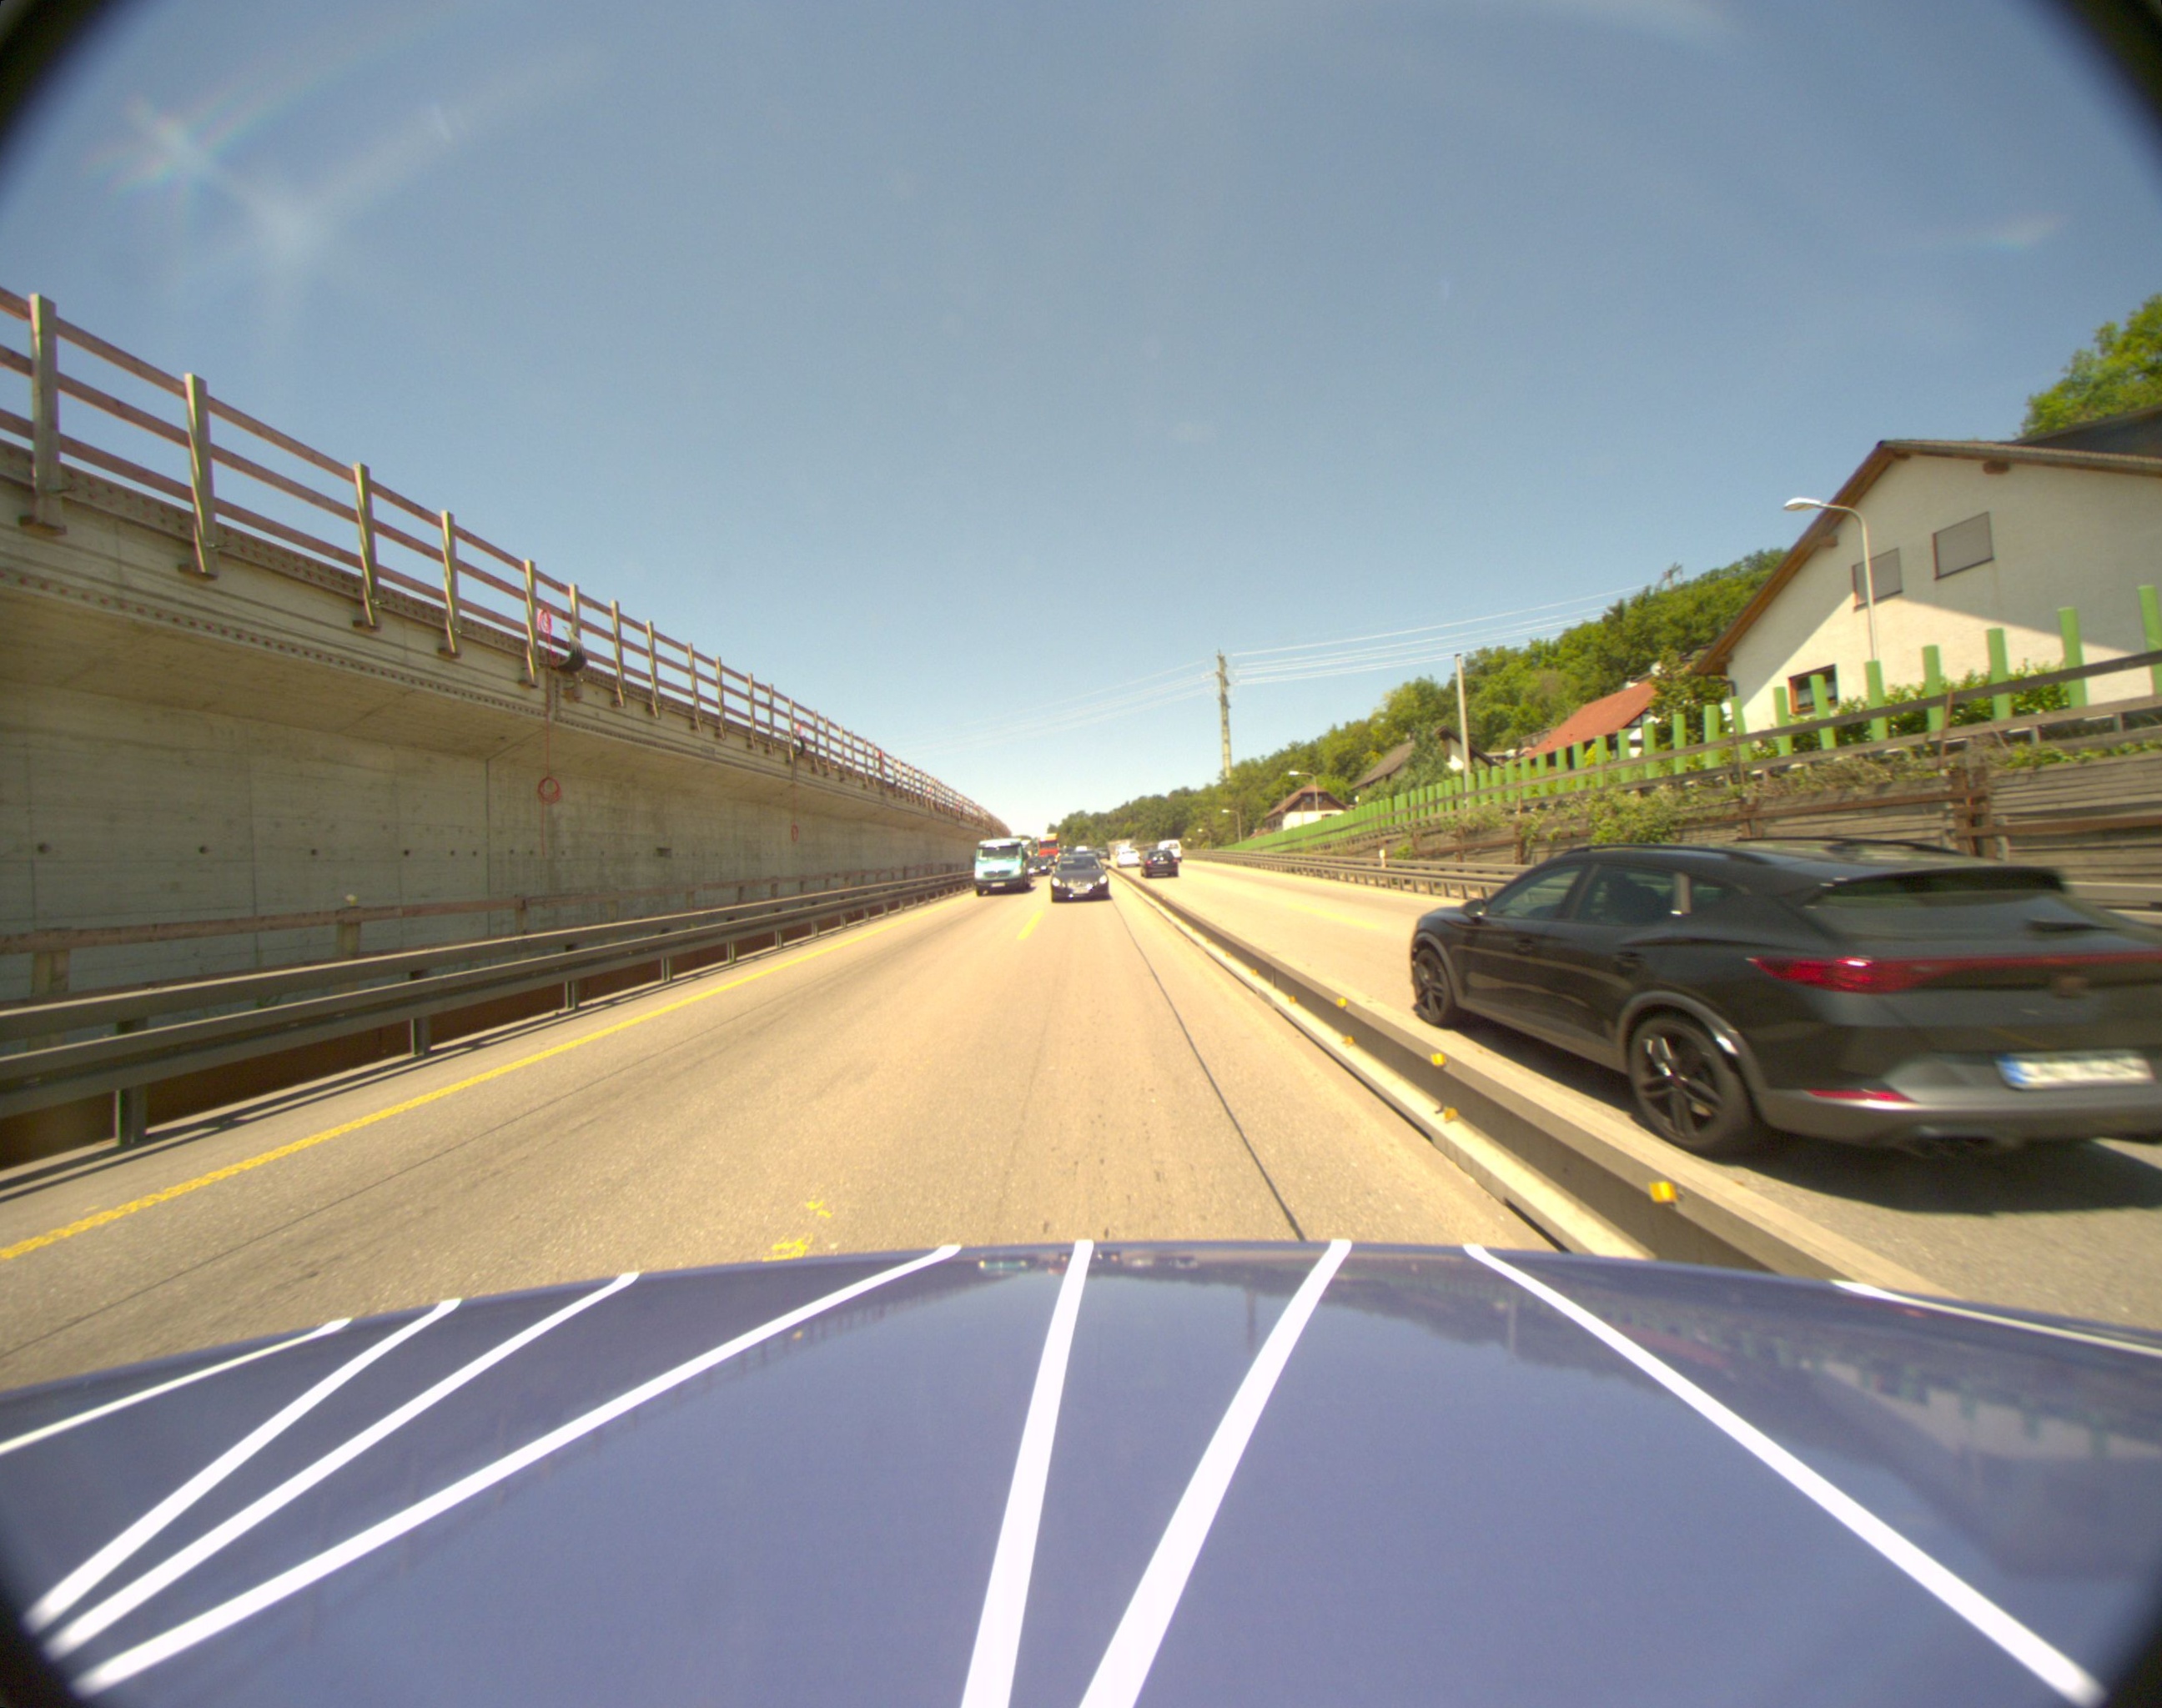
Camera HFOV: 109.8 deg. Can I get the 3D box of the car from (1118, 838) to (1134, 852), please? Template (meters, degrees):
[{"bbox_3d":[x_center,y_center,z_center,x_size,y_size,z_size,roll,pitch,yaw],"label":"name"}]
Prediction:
[{"bbox_3d":[6.588,-1.378,112.032,1.830,1.915,5.241,-3,1,-2],"label":"car"}]

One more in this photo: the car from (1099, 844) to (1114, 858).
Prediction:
[{"bbox_3d":[3.288,-0.410,99.789,1.779,1.624,4.100,-3,1,0],"label":"car"}]

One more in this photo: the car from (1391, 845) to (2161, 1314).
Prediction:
[{"bbox_3d":[3.730,0.752,4.732,1.847,1.521,4.293,-2,1,1],"label":"car"}]

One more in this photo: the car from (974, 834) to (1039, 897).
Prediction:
[{"bbox_3d":[-3.133,0.420,33.418,1.968,2.367,7.209,-4,1,0],"label":"car"}]

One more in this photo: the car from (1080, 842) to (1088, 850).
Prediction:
[{"bbox_3d":[0.872,-1.953,197.181,1.998,2.002,4.000,-2,0,1],"label":"car"}]

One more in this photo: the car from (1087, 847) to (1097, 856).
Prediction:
[{"bbox_3d":[2.323,-0.575,164.328,1.999,1.816,4.507,-2,0,-1],"label":"car"}]

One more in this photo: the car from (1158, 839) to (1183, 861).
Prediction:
[{"bbox_3d":[7.591,-0.365,64.753,1.600,1.823,4.752,-2,1,1],"label":"car"}]

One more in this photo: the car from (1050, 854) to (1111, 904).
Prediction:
[{"bbox_3d":[-0.081,0.762,25.163,1.793,1.440,4.296,-2,0,-2],"label":"car"}]

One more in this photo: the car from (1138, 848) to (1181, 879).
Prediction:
[{"bbox_3d":[4.061,0.428,39.937,1.610,1.438,4.668,-2,1,-1],"label":"car"}]

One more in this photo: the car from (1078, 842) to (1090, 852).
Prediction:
[{"bbox_3d":[0.599,-1.340,143.827,2.163,1.895,5.325,-3,1,0],"label":"car"}]

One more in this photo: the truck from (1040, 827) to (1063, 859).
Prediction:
[{"bbox_3d":[-4.123,-1.554,106.266,2.651,3.978,11.192,-5,1,-2],"label":"truck"}]

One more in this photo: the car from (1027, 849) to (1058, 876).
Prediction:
[{"bbox_3d":[-2.738,0.599,54.978,1.859,1.650,3.999,-5,1,1],"label":"car"}]

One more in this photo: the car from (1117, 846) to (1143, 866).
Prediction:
[{"bbox_3d":[3.947,0.156,61.296,1.737,1.429,4.257,-4,1,0],"label":"car"}]

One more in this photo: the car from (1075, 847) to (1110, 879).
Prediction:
[{"bbox_3d":[0.654,0.476,45.619,1.860,1.650,3.999,-5,1,-1],"label":"car"}]

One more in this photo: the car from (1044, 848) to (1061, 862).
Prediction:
[{"bbox_3d":[-3.395,0.118,90.297,1.674,1.499,3.647,-5,1,1],"label":"car"}]
